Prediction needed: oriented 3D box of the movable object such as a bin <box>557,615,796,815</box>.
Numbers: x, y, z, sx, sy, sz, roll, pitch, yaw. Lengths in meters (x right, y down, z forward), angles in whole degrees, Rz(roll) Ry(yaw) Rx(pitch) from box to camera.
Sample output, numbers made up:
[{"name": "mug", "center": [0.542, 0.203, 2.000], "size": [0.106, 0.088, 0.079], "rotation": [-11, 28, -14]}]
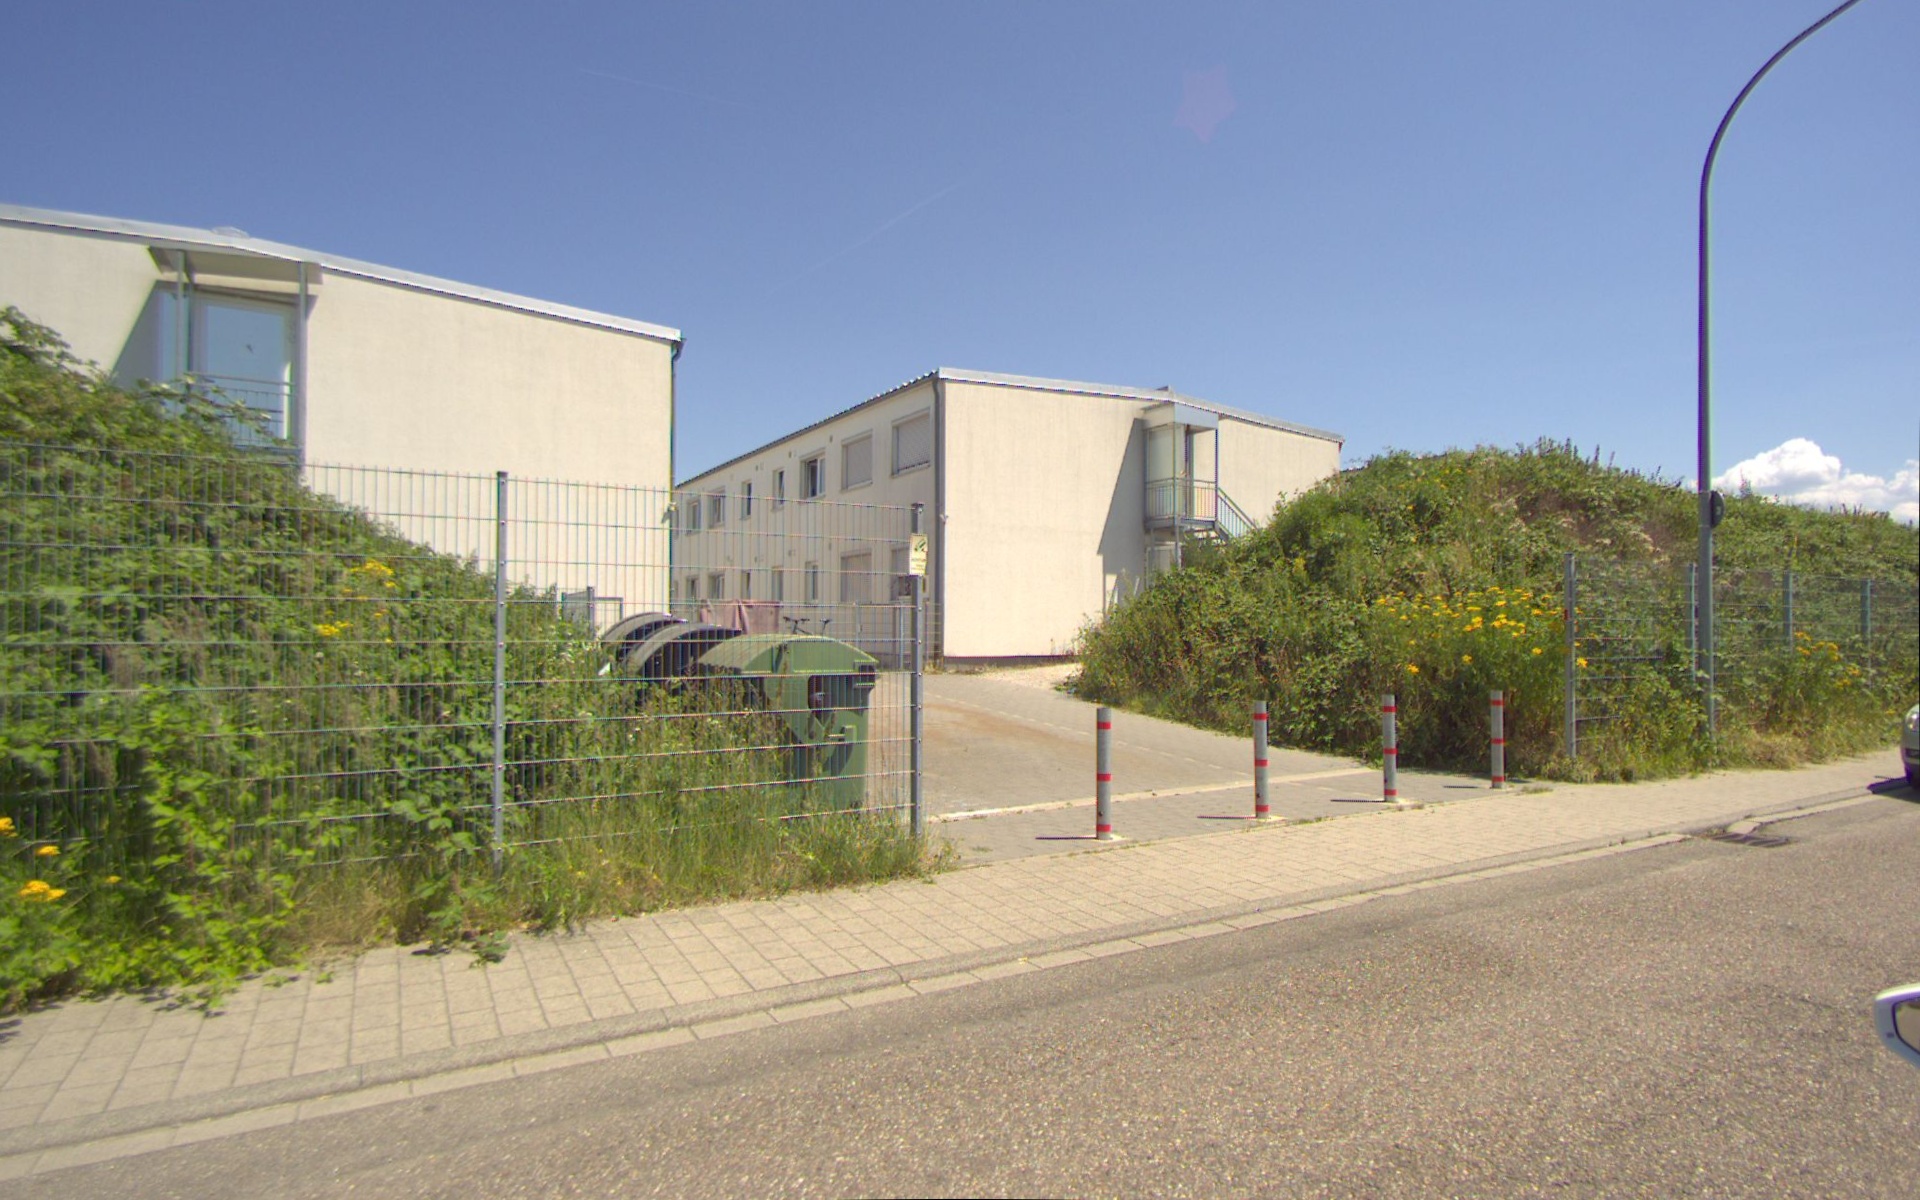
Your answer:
[{"name": "movable object such as a bin", "center": [-2.503, 0.909, 8.795], "size": [1.745, 1.485, 1.343], "rotation": [1, 2, -30]}]

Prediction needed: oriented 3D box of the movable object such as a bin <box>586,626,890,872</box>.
[{"name": "movable object such as a bin", "center": [-1.591, 0.937, 7.138], "size": [1.817, 1.496, 1.297], "rotation": [1, -2, -30]}]

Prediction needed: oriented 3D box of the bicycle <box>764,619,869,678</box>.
[{"name": "bicycle", "center": [-2.774, 0.935, 19.589], "size": [1.976, 1.087, 0.549], "rotation": [1, 0, -33]}]

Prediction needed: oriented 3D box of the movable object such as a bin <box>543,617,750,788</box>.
[{"name": "movable object such as a bin", "center": [-3.185, 0.954, 10.137], "size": [1.745, 1.485, 1.343], "rotation": [1, 2, -30]}]

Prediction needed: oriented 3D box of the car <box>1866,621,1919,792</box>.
[{"name": "car", "center": [10.943, 0.994, 9.856], "size": [4.316, 1.567, 1.825], "rotation": [1, -2, -30]}]
